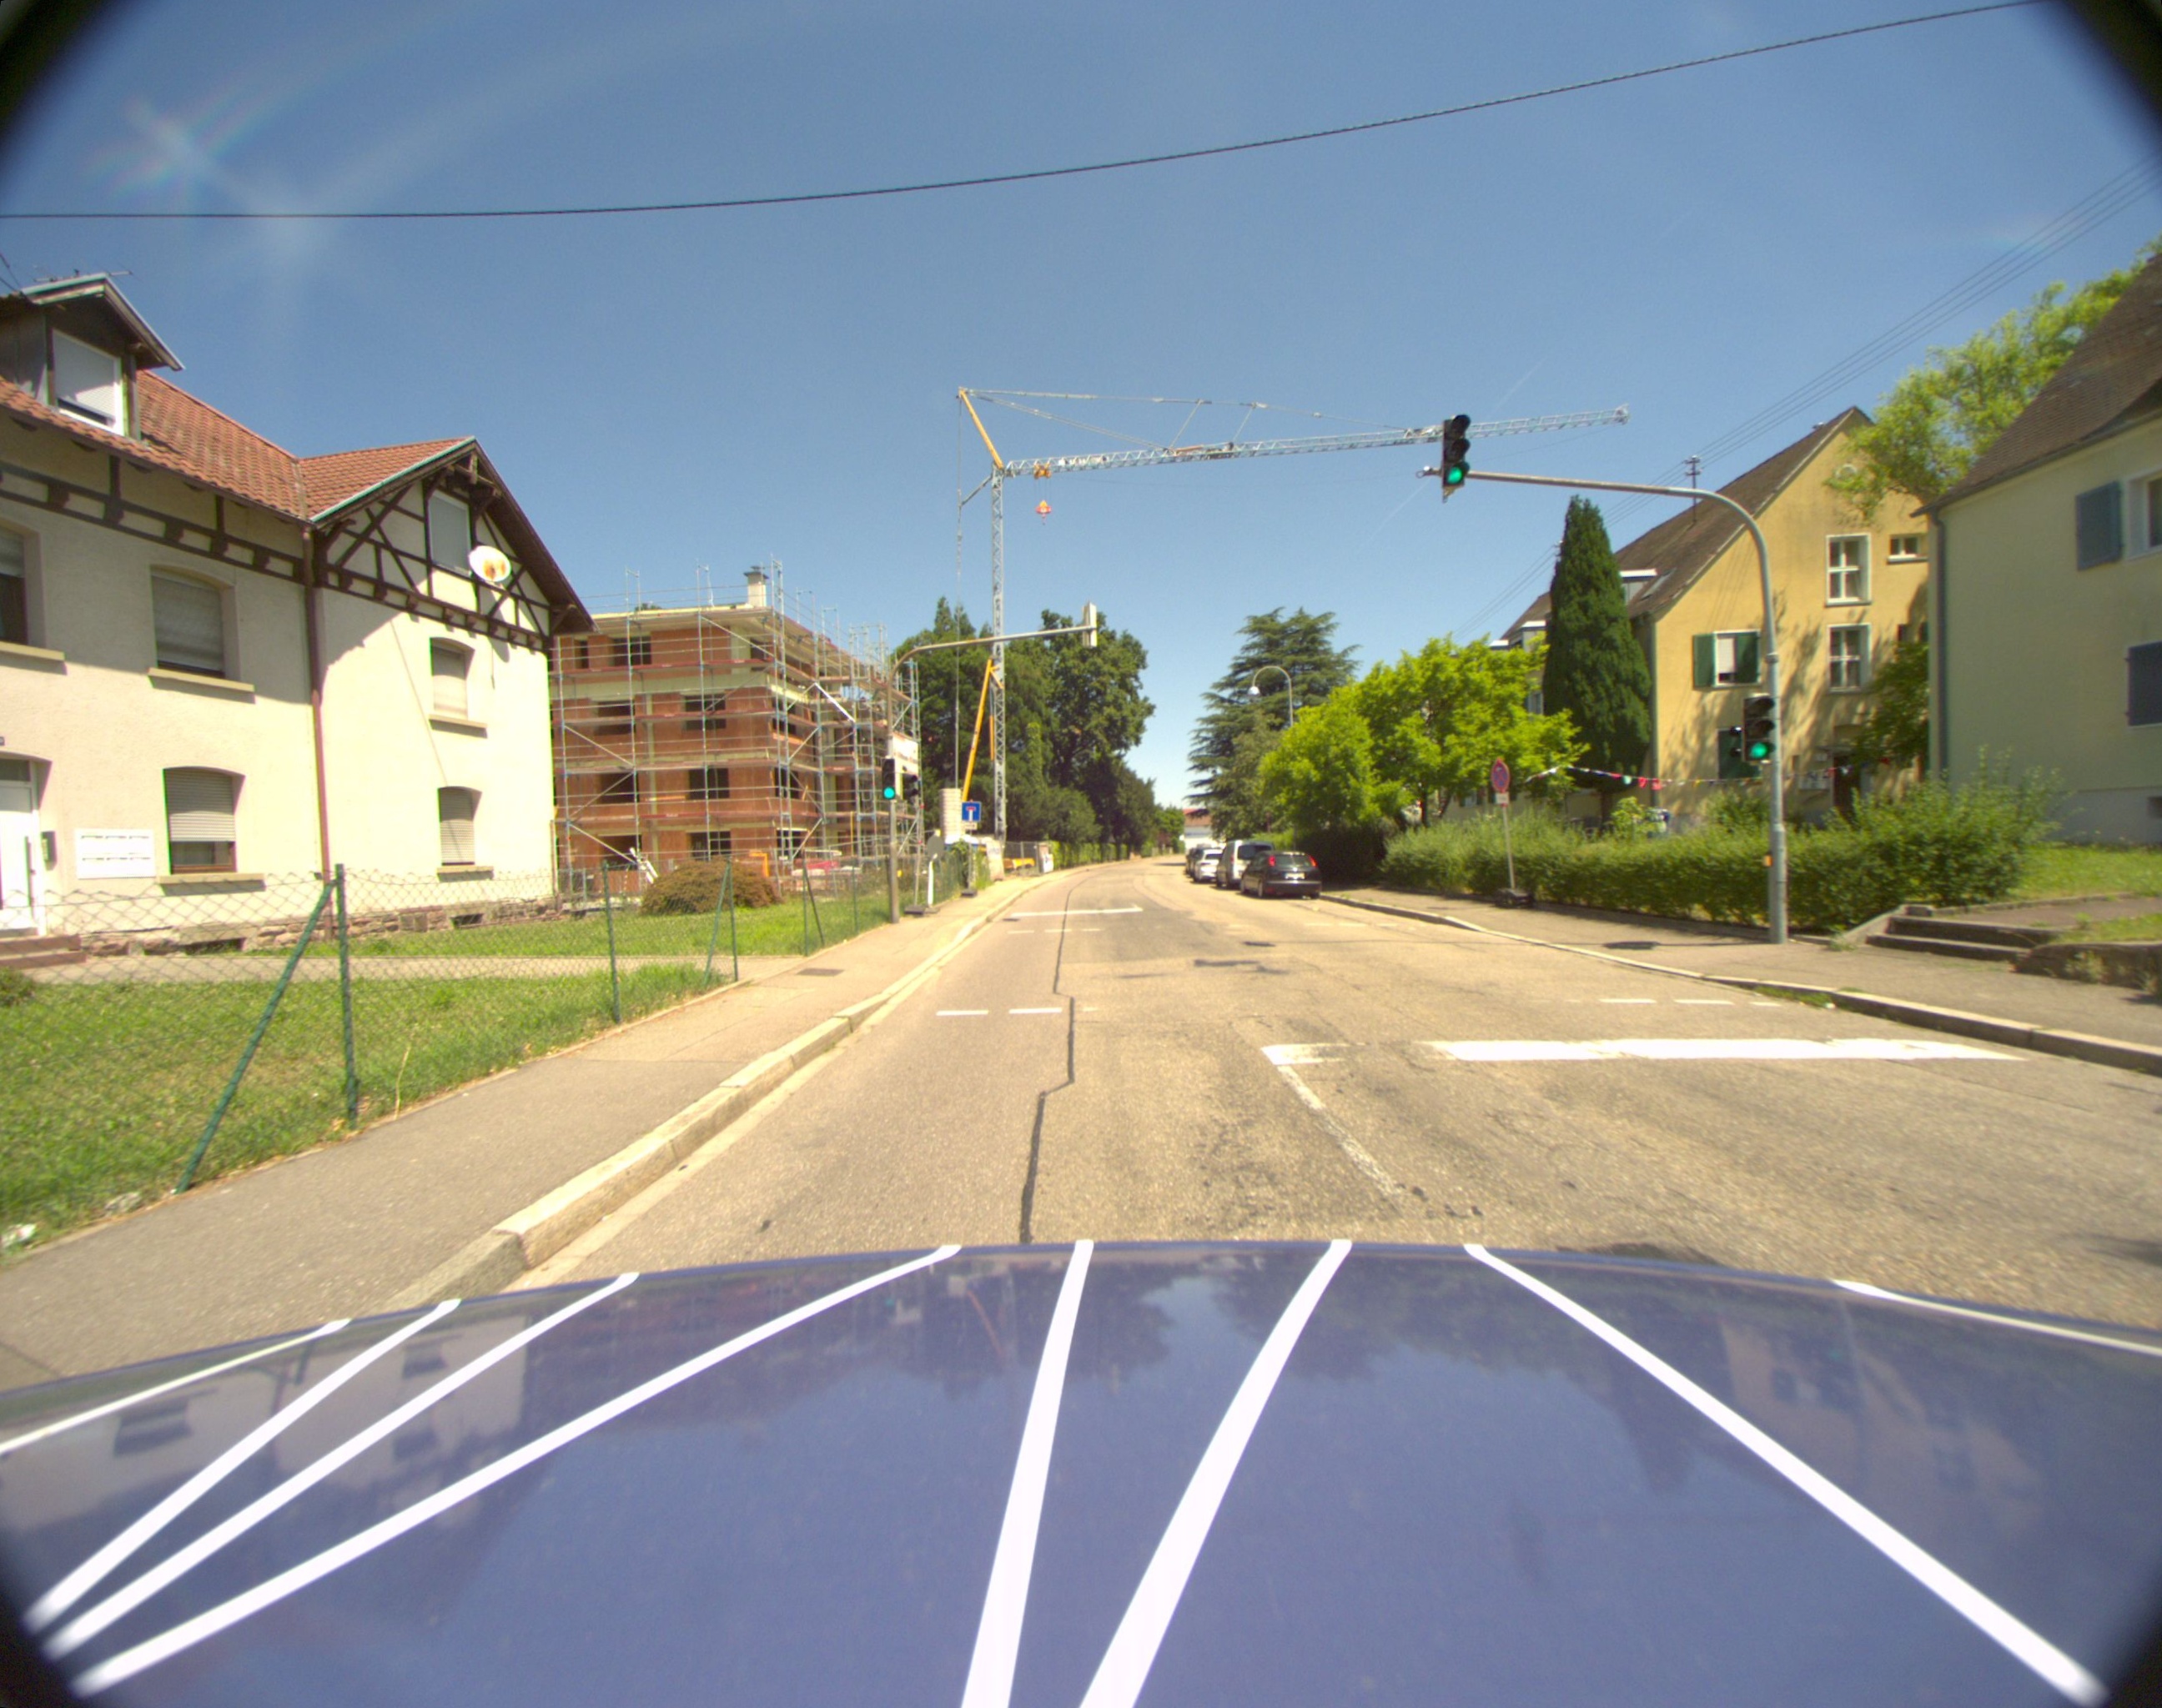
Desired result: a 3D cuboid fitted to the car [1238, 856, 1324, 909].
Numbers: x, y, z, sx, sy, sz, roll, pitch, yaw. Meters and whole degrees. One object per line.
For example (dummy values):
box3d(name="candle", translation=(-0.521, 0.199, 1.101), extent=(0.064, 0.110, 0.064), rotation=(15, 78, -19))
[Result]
box3d(name="car", translation=(6.009, 0.801, 23.258), extent=(1.685, 1.404, 3.926), rotation=(0, 1, 1))

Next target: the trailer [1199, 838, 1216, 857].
box3d(name="trailer", translation=(13.772, -0.714, 82.715), extent=(1.817, 2.021, 4.002), rotation=(1, 1, 10))

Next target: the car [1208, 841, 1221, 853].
box3d(name="car", translation=(21.243, -1.105, 120.815), extent=(1.891, 1.749, 3.615), rotation=(1, 1, 13))

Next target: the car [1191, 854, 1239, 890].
box3d(name="car", translation=(5.831, 0.752, 33.456), extent=(1.684, 1.433, 4.248), rotation=(0, 1, 5))

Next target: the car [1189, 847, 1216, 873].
box3d(name="car", translation=(8.004, 0.372, 50.317), extent=(1.684, 1.630, 3.791), rotation=(0, 1, 7))

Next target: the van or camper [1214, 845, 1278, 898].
box3d(name="van or camper", translation=(6.034, 0.589, 28.147), extent=(1.685, 1.794, 3.985), rotation=(0, 1, 3))

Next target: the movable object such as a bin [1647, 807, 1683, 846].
box3d(name="movable object such as a bin", translation=(18.390, -0.856, 23.932), extent=(0.622, 1.189, 0.674), rotation=(-2, 1, 3))

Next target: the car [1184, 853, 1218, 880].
box3d(name="car", translation=(7.102, 0.692, 45.445), extent=(1.684, 1.467, 4.331), rotation=(0, 1, 5))

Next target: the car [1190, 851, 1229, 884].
box3d(name="car", translation=(6.771, 0.670, 40.308), extent=(1.684, 1.627, 4.331), rotation=(0, 1, 5))
